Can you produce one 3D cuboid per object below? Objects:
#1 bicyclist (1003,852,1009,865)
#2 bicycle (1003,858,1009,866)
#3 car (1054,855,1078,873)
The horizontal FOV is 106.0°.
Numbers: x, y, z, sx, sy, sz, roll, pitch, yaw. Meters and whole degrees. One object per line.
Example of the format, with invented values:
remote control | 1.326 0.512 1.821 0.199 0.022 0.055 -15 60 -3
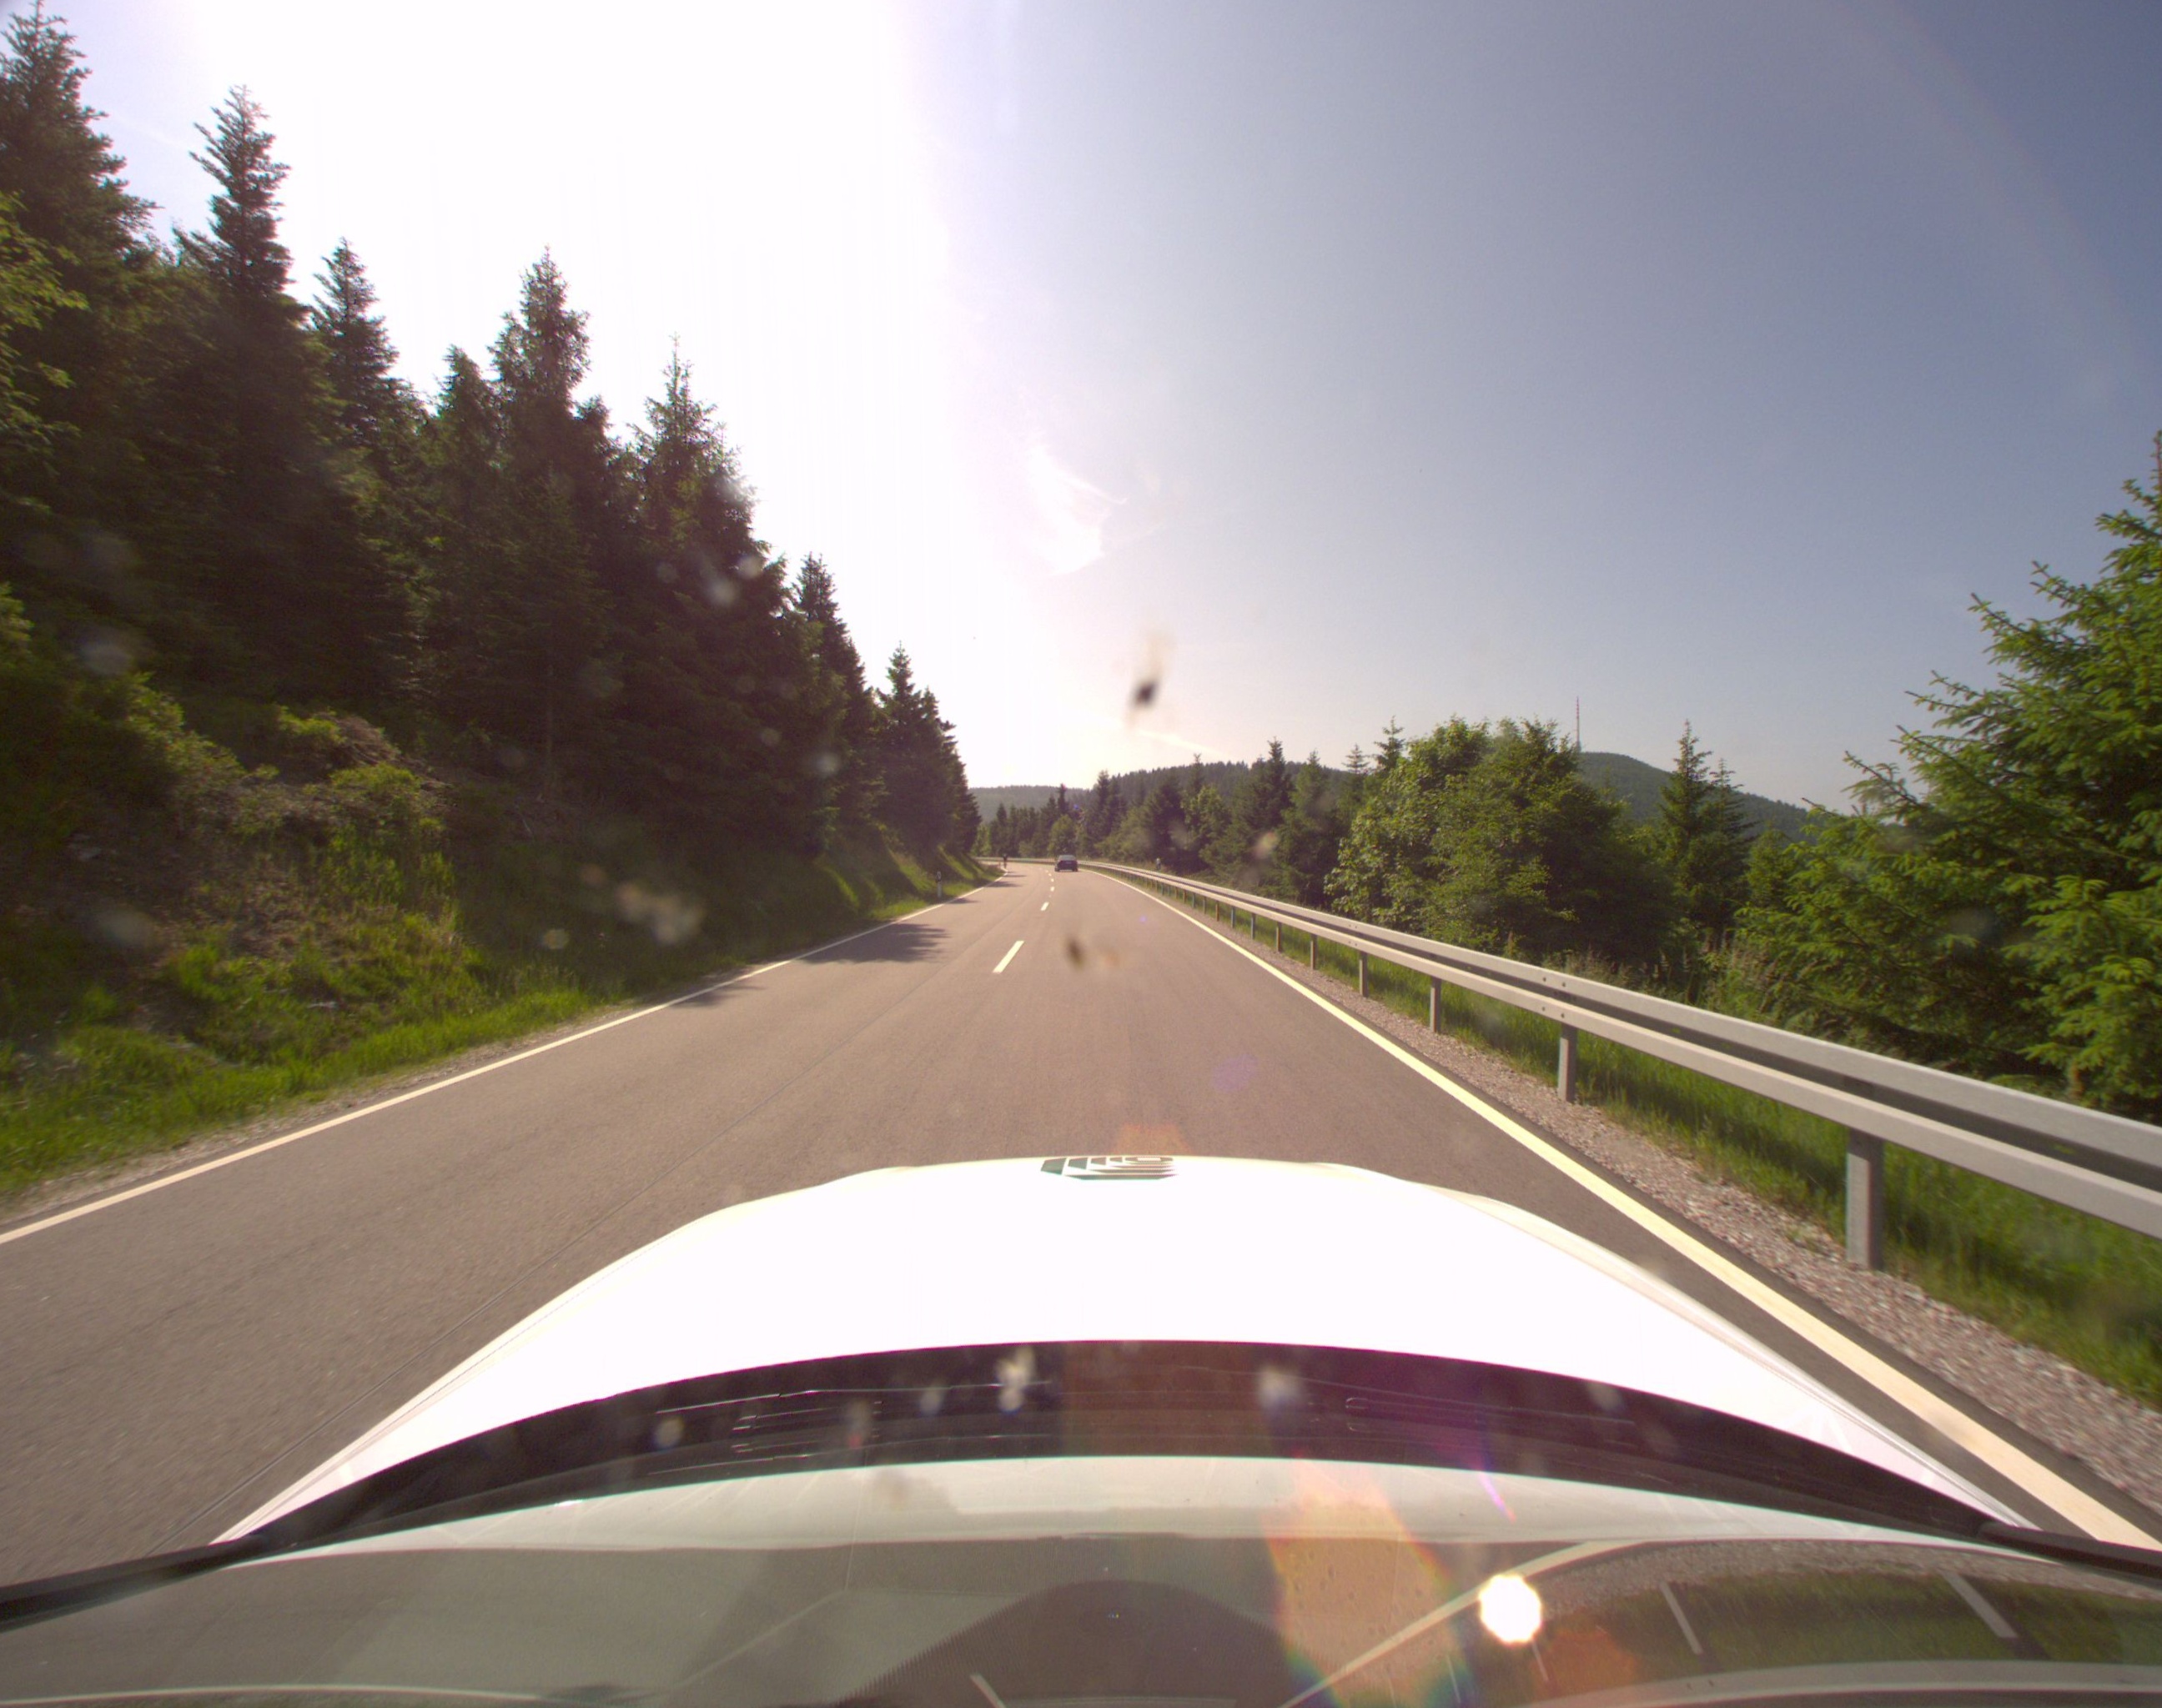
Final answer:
bicyclist | -8.379 0.495 90.593 0.542 1.451 0.980 -2 0 -10
bicycle | -8.373 0.855 90.687 0.553 0.886 2.055 -2 0 -9
car | -1.295 0.810 70.181 1.773 1.442 3.702 -2 0 -5
